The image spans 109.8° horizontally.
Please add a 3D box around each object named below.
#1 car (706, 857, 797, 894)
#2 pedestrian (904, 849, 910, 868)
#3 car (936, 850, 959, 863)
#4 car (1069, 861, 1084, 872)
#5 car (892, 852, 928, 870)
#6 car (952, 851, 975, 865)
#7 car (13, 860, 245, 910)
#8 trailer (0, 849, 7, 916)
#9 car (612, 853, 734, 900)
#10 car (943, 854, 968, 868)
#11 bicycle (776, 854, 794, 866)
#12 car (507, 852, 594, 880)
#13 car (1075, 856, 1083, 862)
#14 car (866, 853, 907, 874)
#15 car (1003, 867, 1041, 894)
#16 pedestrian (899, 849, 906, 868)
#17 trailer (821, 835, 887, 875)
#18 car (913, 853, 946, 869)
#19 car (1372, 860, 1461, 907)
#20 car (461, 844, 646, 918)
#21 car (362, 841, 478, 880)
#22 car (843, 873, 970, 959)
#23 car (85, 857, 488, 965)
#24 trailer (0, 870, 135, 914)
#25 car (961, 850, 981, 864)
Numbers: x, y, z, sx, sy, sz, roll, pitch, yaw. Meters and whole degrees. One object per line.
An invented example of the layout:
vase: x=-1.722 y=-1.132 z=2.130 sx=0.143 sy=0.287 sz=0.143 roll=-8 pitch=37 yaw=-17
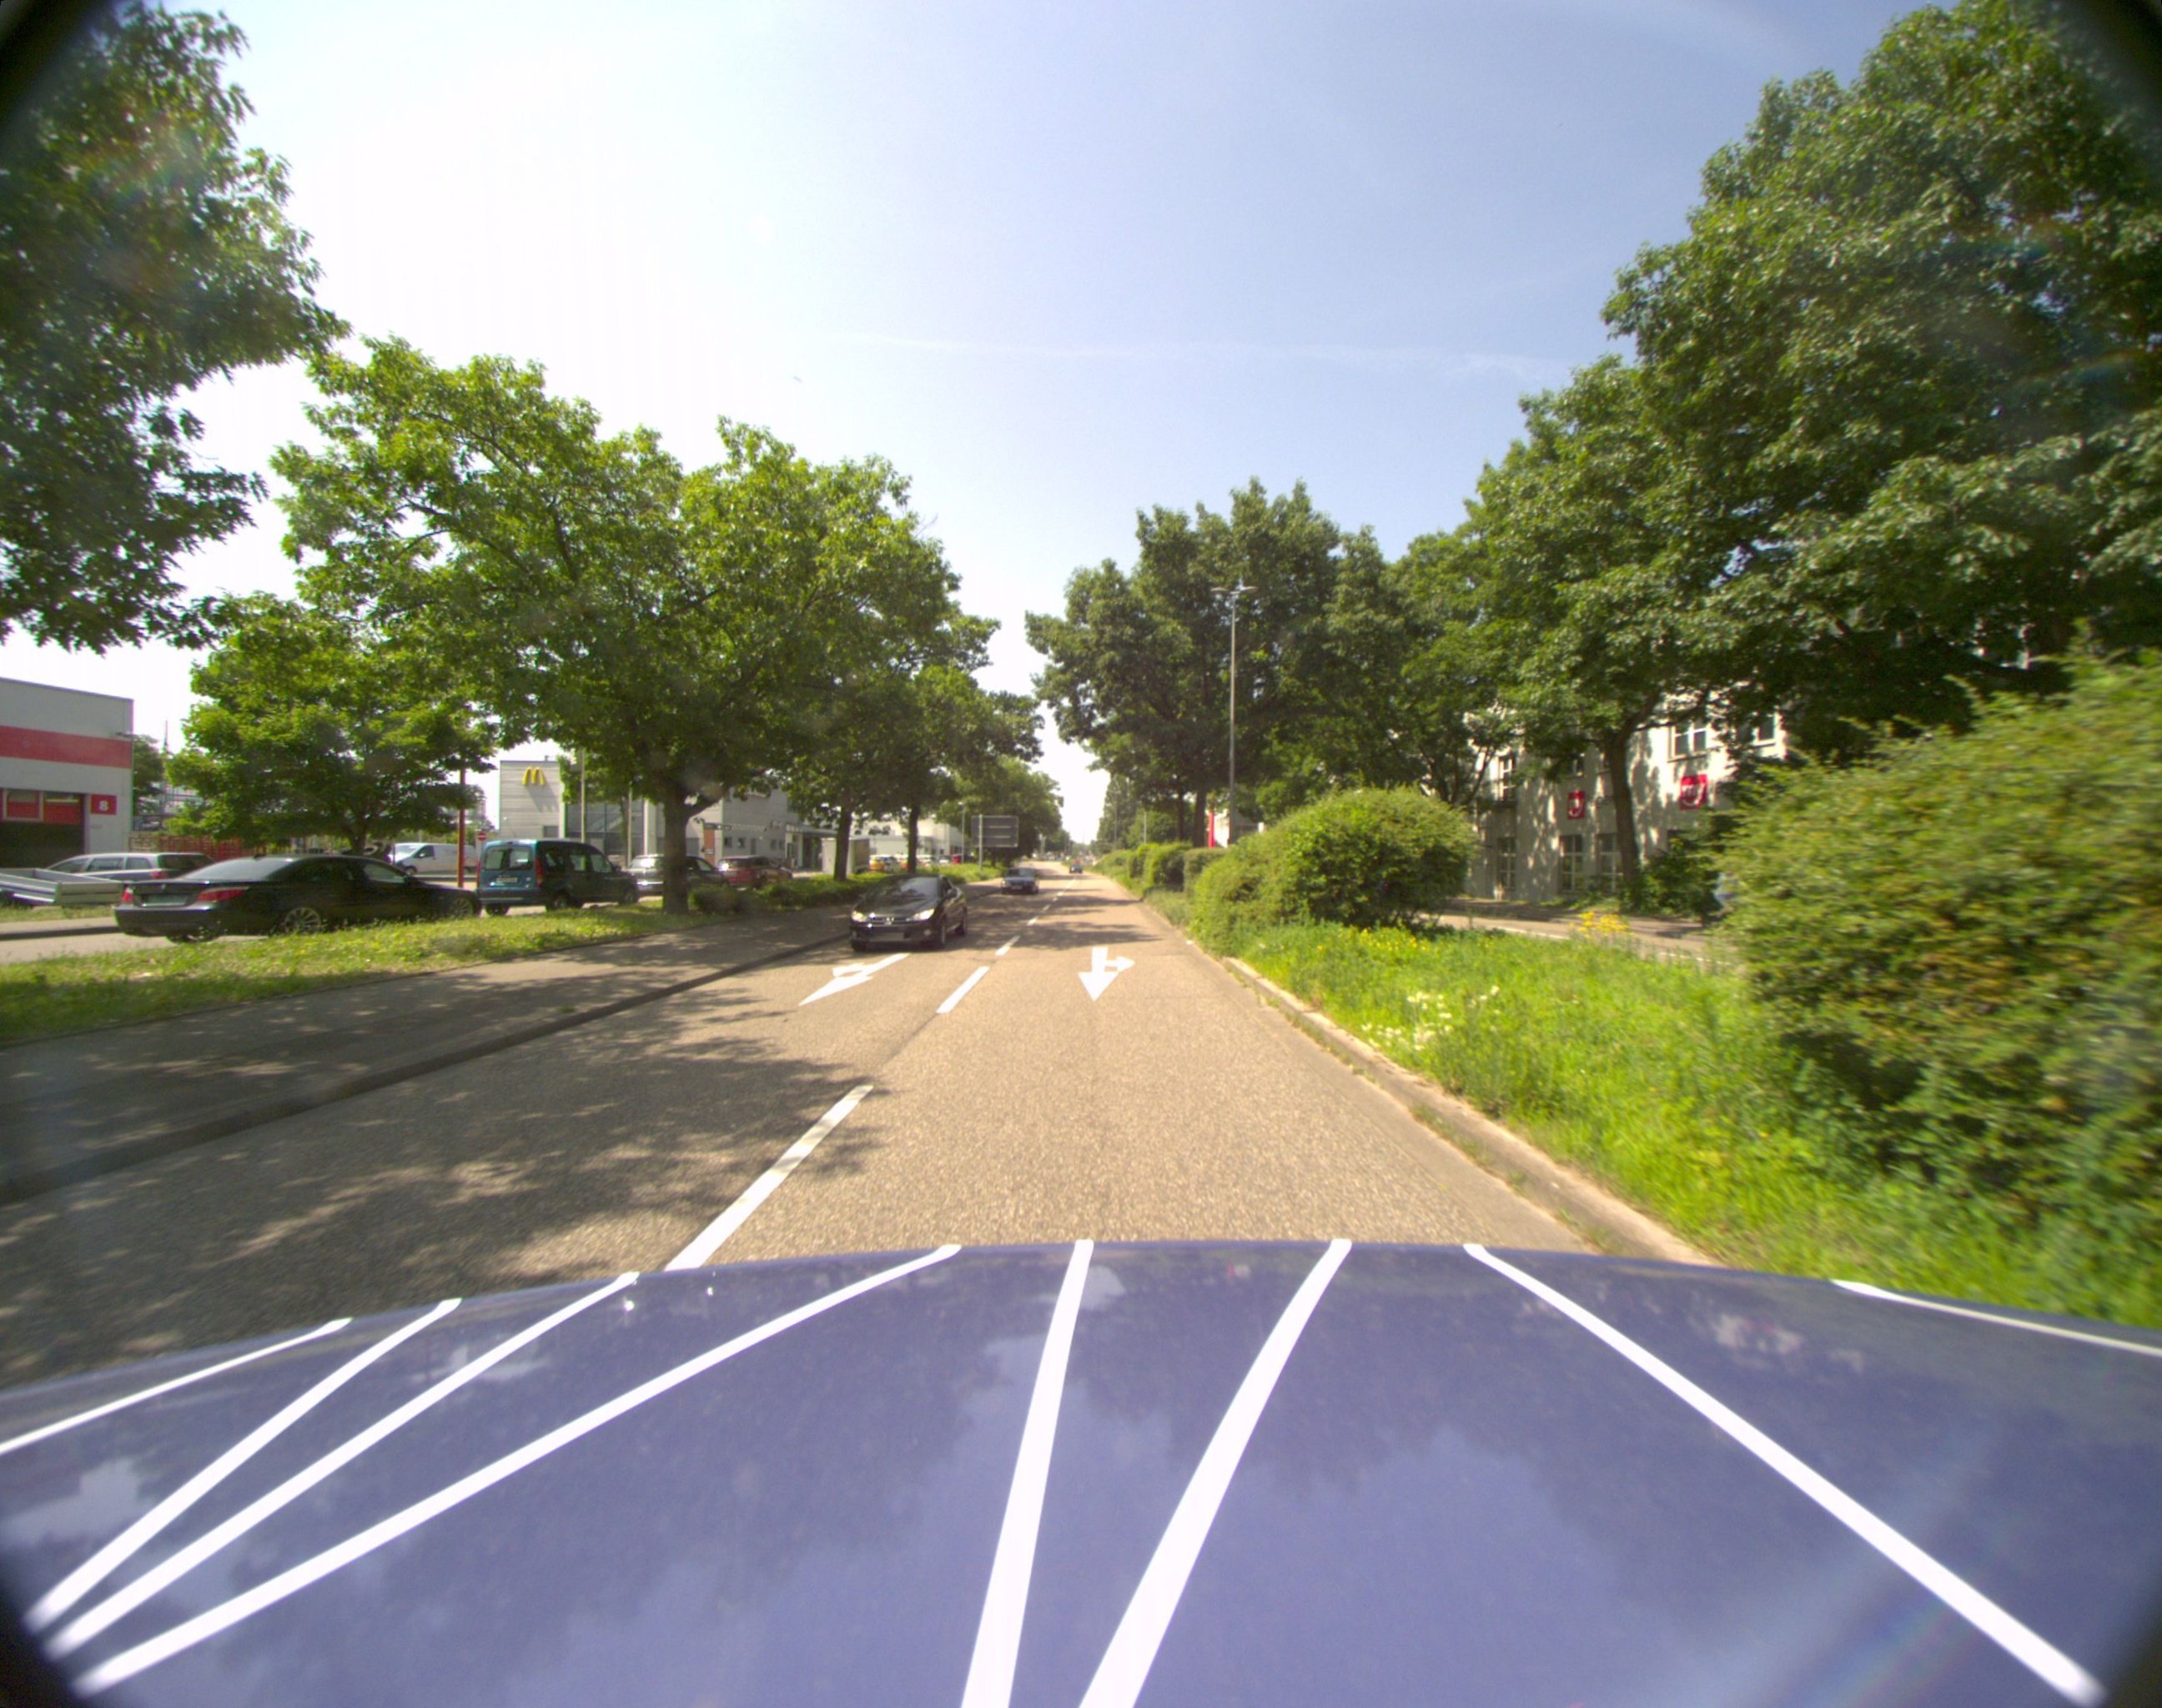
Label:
car: x=-12.868 y=0.793 z=29.972 sx=1.705 sy=1.372 sz=4.324 roll=0 pitch=0 yaw=0
pedestrian: x=-17.898 y=0.450 z=78.191 sx=0.467 sy=1.910 sz=0.534 roll=1 pitch=0 yaw=1
car: x=-11.803 y=0.227 z=67.260 sx=1.511 sy=1.116 sz=2.855 roll=-1 pitch=1 yaw=-1
car: x=-0.609 y=1.718 z=105.201 sx=1.868 sy=1.390 sz=3.999 roll=1 pitch=0 yaw=-2
car: x=-12.057 y=0.471 z=53.793 sx=1.597 sy=1.151 sz=3.737 roll=-1 pitch=1 yaw=1
car: x=-11.822 y=0.359 z=76.651 sx=1.623 sy=1.245 sz=4.199 roll=-2 pitch=1 yaw=1
car: x=-24.265 y=0.772 z=19.461 sx=3.811 sy=1.176 sz=1.758 roll=0 pitch=0 yaw=2
trailer: x=-27.089 y=0.640 z=17.239 sx=3.613 sy=1.572 sz=1.413 roll=1 pitch=0 yaw=3
car: x=-12.688 y=0.661 z=23.925 sx=1.705 sy=1.372 sz=3.905 roll=0 pitch=0 yaw=0
car: x=-11.812 y=0.651 z=71.721 sx=1.623 sy=1.245 sz=3.763 roll=-1 pitch=1 yaw=0
bicycle: x=-24.567 y=0.466 z=63.014 sx=0.590 sy=0.974 sz=2.102 roll=1 pitch=0 yaw=2
car: x=-26.262 y=0.568 z=37.756 sx=1.587 sy=1.331 sz=3.777 roll=1 pitch=0 yaw=1
car: x=-0.423 y=1.333 z=190.203 sx=1.734 sy=1.316 sz=4.147 roll=2 pitch=1 yaw=-4
car: x=-12.131 y=0.572 z=47.555 sx=1.623 sy=1.245 sz=3.630 roll=-1 pitch=1 yaw=0
car: x=-2.970 y=1.306 z=38.874 sx=1.712 sy=1.315 sz=3.955 roll=0 pitch=-1 yaw=-2
pedestrian: x=-18.461 y=0.448 z=78.419 sx=0.583 sy=1.910 sz=0.409 roll=1 pitch=0 yaw=1
trailer: x=-12.501 y=0.053 z=42.254 sx=1.704 sy=2.043 sz=5.485 roll=0 pitch=0 yaw=3
car: x=-12.230 y=0.543 z=61.615 sx=1.622 sy=1.245 sz=3.867 roll=-1 pitch=1 yaw=4
car: x=13.300 y=1.110 z=30.393 sx=1.784 sy=1.658 sz=3.999 roll=-1 pitch=1 yaw=-1
car: x=-12.737 y=0.564 z=18.683 sx=1.704 sy=1.628 sz=3.905 roll=0 pitch=1 yaw=3
car: x=-32.976 y=0.318 z=38.110 sx=1.714 sy=1.795 sz=4.631 roll=1 pitch=0 yaw=1
car: x=-3.260 y=1.109 z=14.824 sx=1.641 sy=1.349 sz=3.499 roll=-1 pitch=1 yaw=0
car: x=-12.825 y=0.796 z=12.848 sx=1.704 sy=1.416 sz=4.655 roll=0 pitch=1 yaw=4
trailer: x=-23.714 y=0.859 z=17.263 sx=2.719 sy=0.905 sz=1.381 roll=-1 pitch=0 yaw=1
car: x=-12.096 y=0.299 z=83.543 sx=1.912 sy=1.443 sz=5.595 roll=-1 pitch=1 yaw=-10
